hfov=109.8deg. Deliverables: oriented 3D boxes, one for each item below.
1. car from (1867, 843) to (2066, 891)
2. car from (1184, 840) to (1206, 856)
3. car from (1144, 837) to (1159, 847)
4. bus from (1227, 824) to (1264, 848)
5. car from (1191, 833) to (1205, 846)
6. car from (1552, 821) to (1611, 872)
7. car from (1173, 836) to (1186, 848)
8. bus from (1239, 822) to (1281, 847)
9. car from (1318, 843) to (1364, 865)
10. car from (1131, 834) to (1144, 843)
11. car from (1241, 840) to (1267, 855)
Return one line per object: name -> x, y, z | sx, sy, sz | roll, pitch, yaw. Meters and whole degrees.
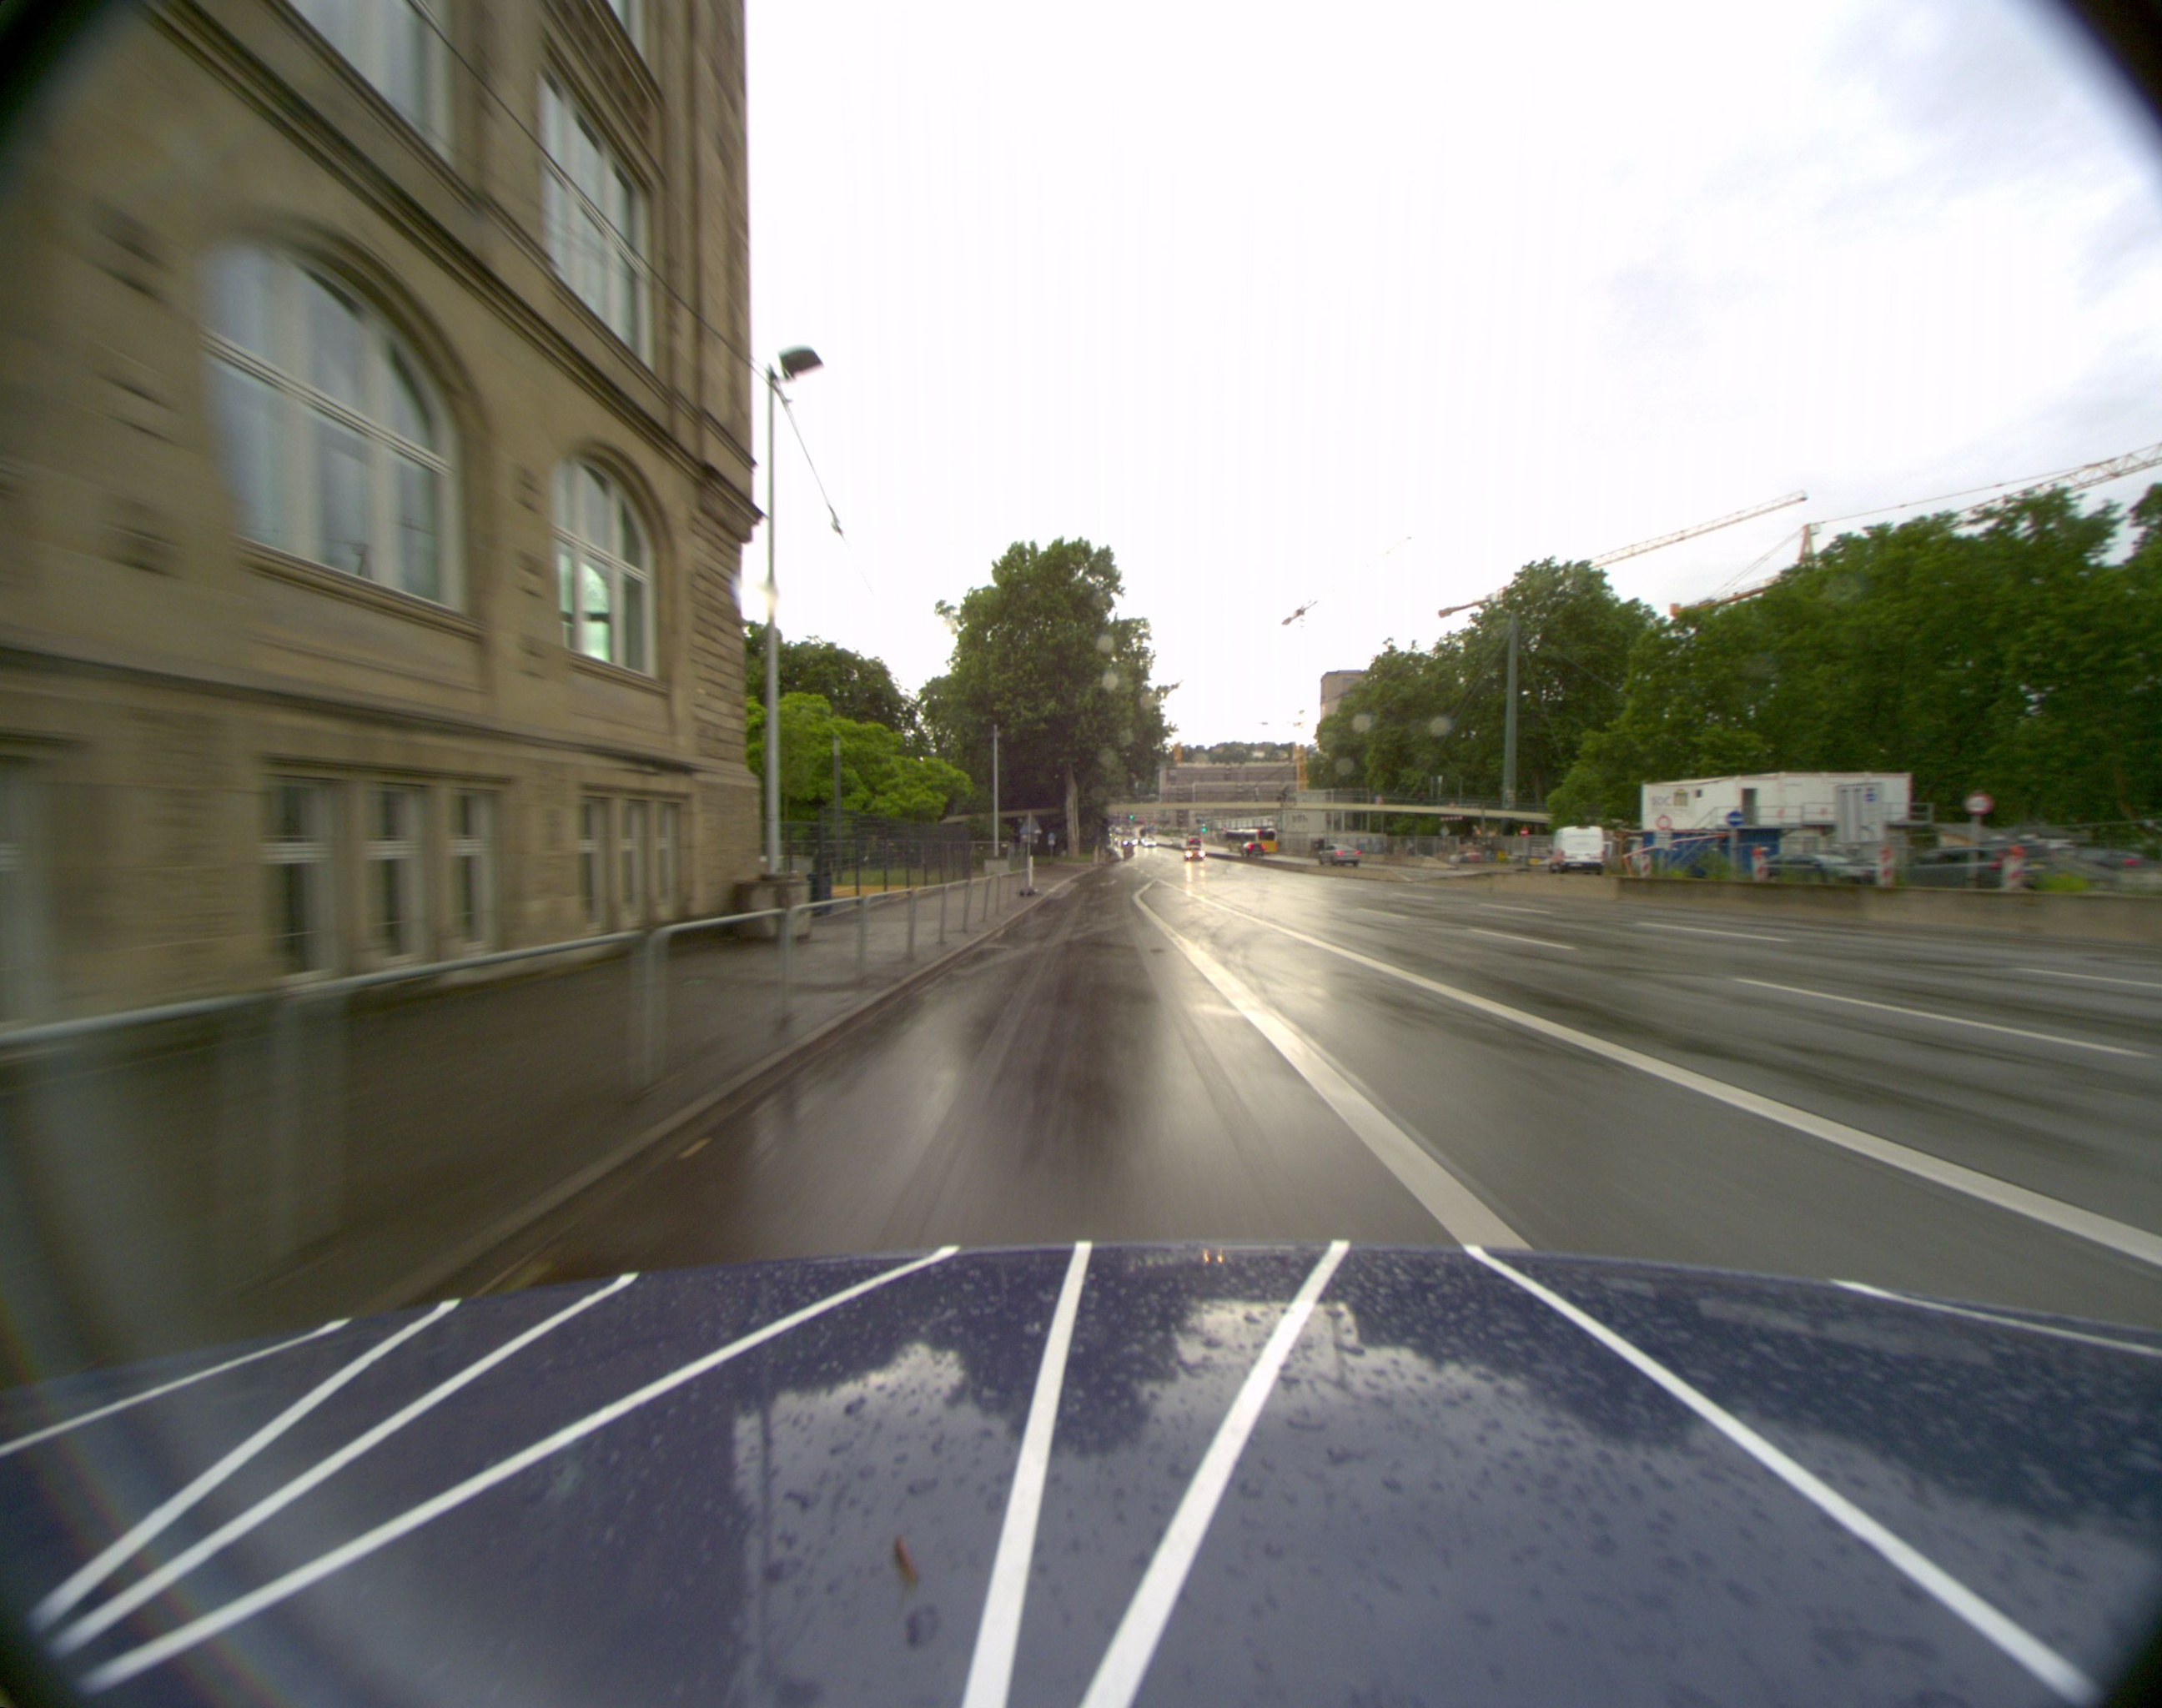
car -> 29.534, 0.385, 25.608 | 1.839, 1.481, 4.442 | 0, 0, 6
car -> 11.534, -0.630, 76.952 | 1.690, 1.543, 4.000 | -1, 0, 0
car -> 11.984, -2.038, 129.045 | 1.987, 1.567, 4.439 | 0, 0, -1
bus -> 22.602, -2.438, 105.063 | 3.238, 3.038, 8.953 | -2, 0, 1
car -> 19.550, -2.401, 126.914 | 1.998, 2.002, 4.001 | 0, 1, 4
car -> 28.252, -0.419, 43.047 | 2.075, 2.722, 4.601 | 0, 1, 24
car -> 16.437, -2.002, 126.891 | 1.998, 2.002, 4.001 | 0, 1, 4
bus -> 22.472, -2.392, 96.090 | 3.270, 2.923, 8.953 | -2, 0, 1
car -> 18.999, -0.029, 55.703 | 1.840, 1.567, 4.439 | 0, 0, -1
car -> 10.590, -2.953, 142.638 | 1.987, 1.567, 4.439 | 0, 0, -1
car -> 19.070, -0.740, 84.007 | 1.840, 1.567, 4.439 | 0, 0, -1
